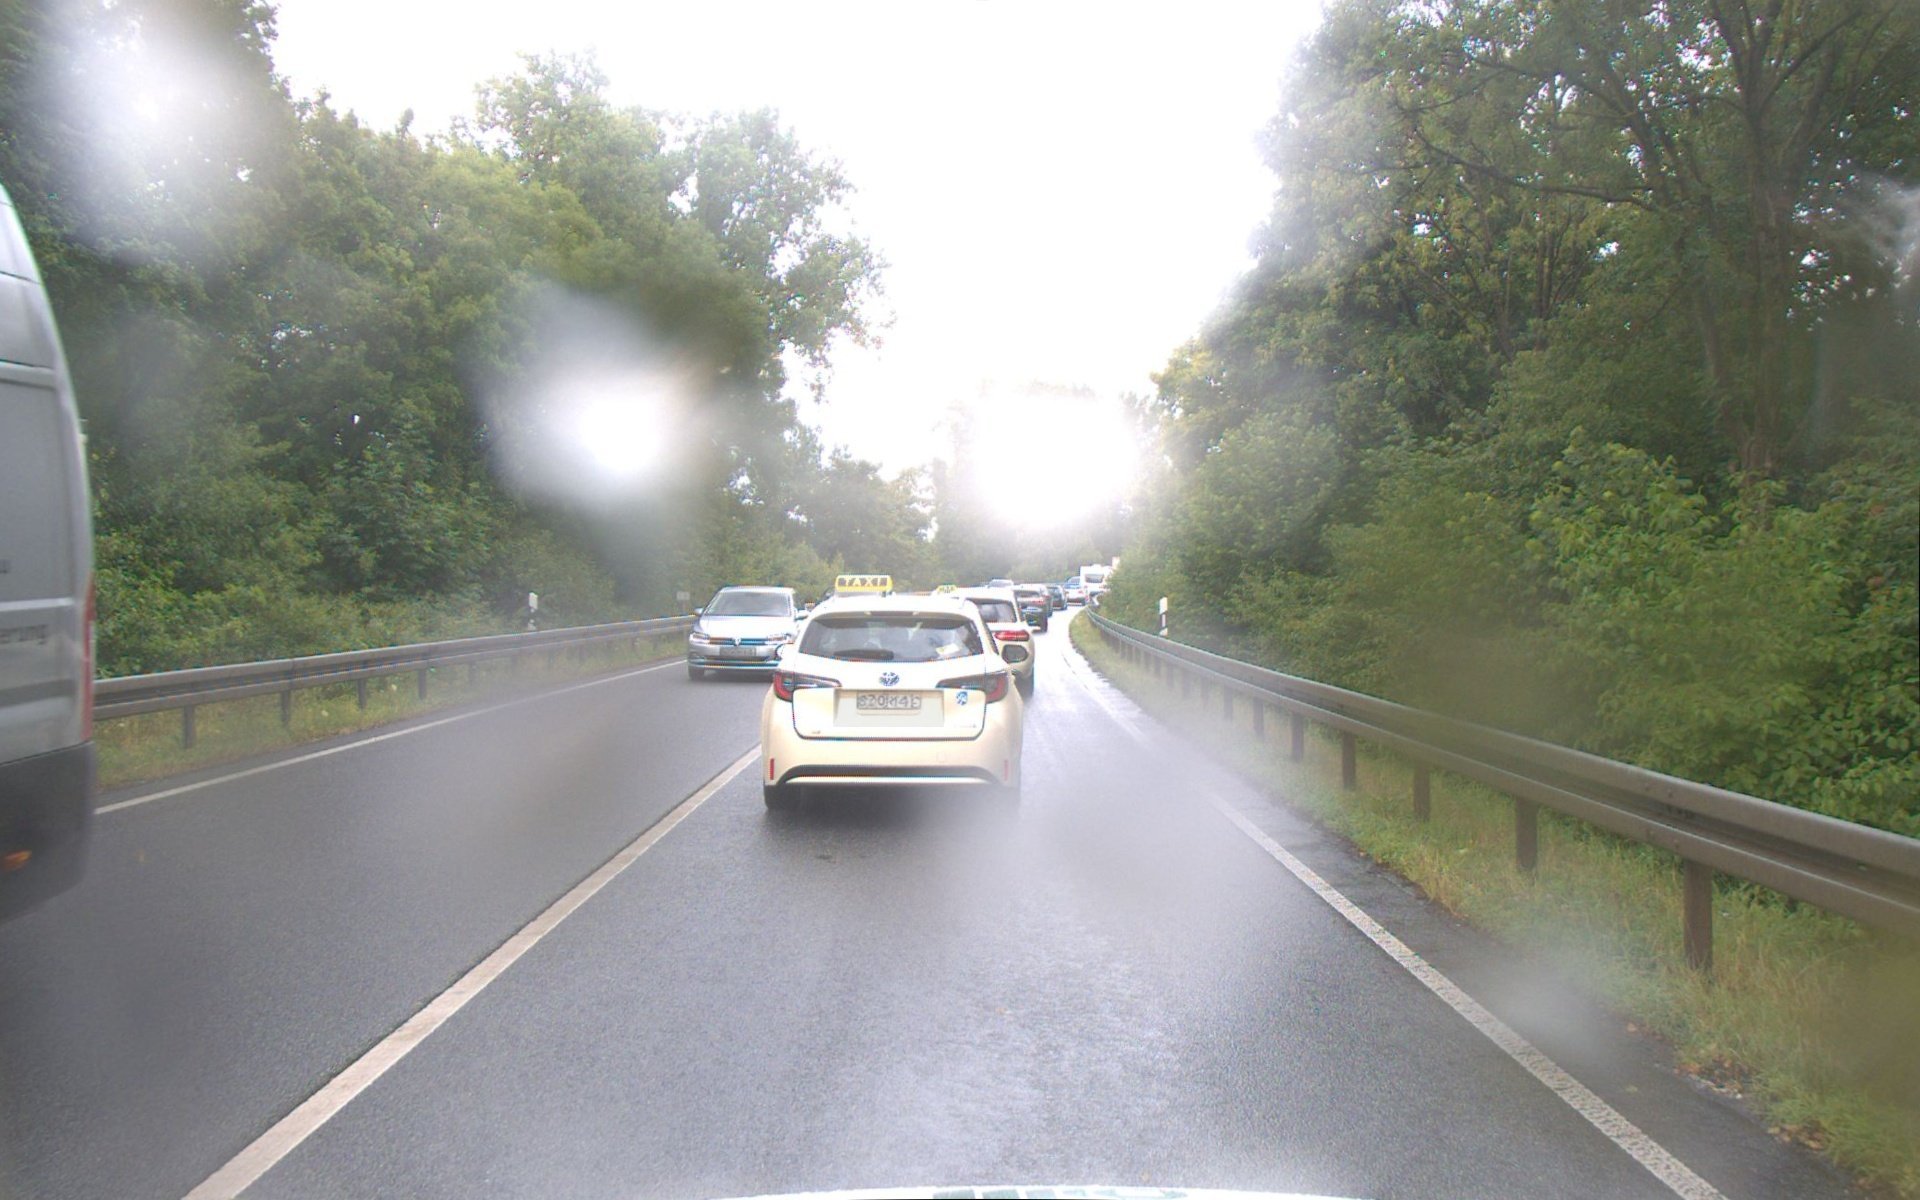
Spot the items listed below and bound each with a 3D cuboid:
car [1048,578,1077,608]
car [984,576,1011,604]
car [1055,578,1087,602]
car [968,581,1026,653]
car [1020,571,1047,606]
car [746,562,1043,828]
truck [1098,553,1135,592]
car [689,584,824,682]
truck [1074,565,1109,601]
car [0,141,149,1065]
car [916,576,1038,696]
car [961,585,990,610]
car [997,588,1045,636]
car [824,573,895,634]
[{"bbox_3d":[5.737,-0.370,92.964,1.582,1.641,3.623,1,0,3],"label":"car"},{"bbox_3d":[2.865,-0.762,125.761,1.952,2.049,4.001,1,0,2],"label":"car"},{"bbox_3d":[7.490,-0.670,111.669,1.732,1.574,3.817,1,0,10],"label":"car"},{"bbox_3d":[0.831,0.382,38.480,1.274,1.574,3.260,1,0,0],"label":"car"},{"bbox_3d":[3.393,-0.504,76.073,1.142,1.574,2.605,1,0,4],"label":"car"},{"bbox_3d":[-0.405,0.593,12.222,1.796,1.608,4.156,1,0,0],"label":"car"},{"bbox_3d":[15.711,-2.732,165.741,3.041,3.745,7.006,1,0,10],"label":"truck"},{"bbox_3d":[-3.251,0.510,27.074,1.693,1.456,3.849,1,0,0],"label":"car"},{"bbox_3d":[10.764,-1.370,135.820,2.496,2.760,7.537,1,0,2],"label":"truck"},{"bbox_3d":[-3.804,-0.003,2.656,2.006,2.723,6.170,0,0,-1],"label":"car"},{"bbox_3d":[0.252,0.496,24.389,1.633,1.608,3.892,1,0,1],"label":"car"},{"bbox_3d":[0.993,-0.179,104.617,1.769,1.559,4.207,0,0,1],"label":"car"},{"bbox_3d":[2.067,0.413,56.412,1.578,1.574,3.814,0,-1,2],"label":"car"},{"bbox_3d":[-2.973,0.117,49.803,1.778,1.715,4.622,1,0,0],"label":"car"}]
